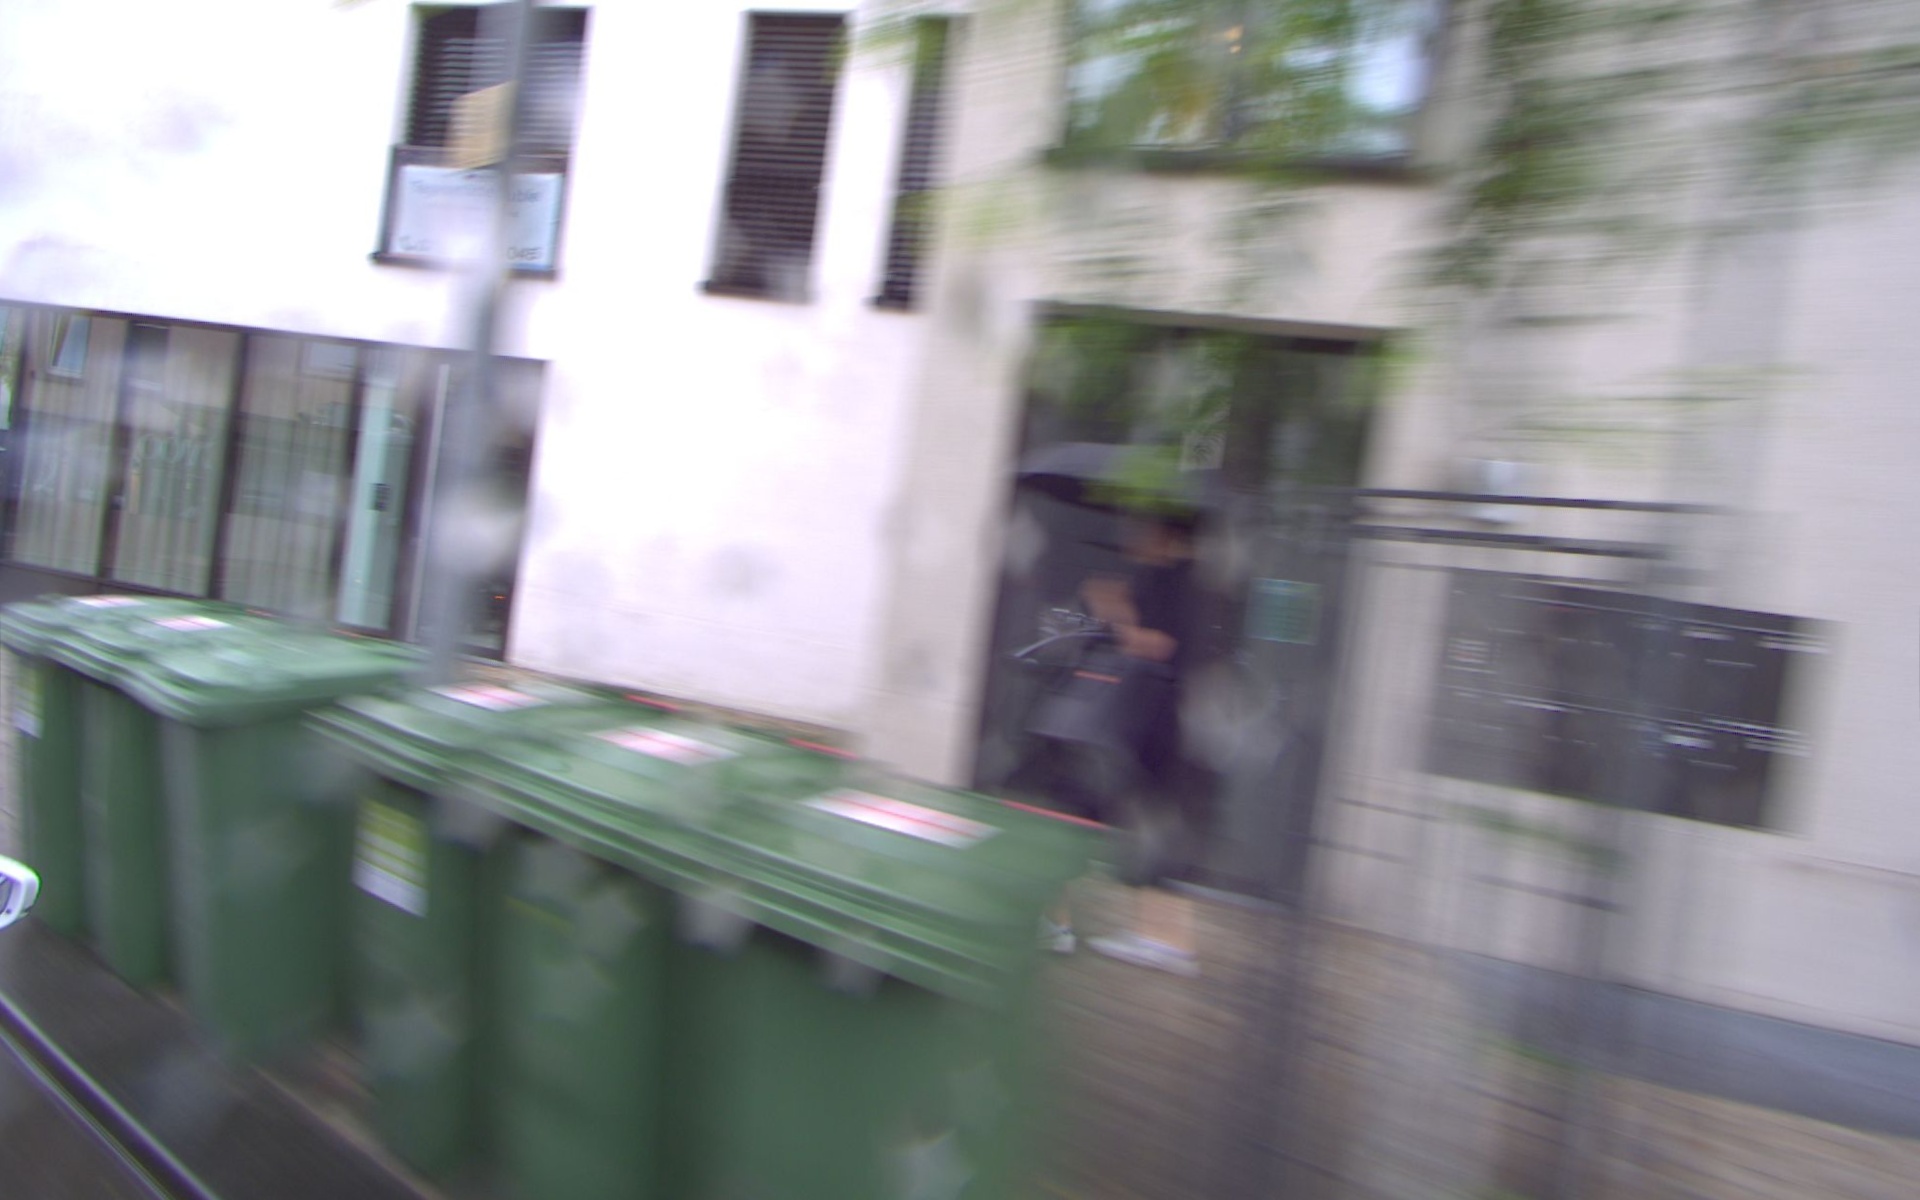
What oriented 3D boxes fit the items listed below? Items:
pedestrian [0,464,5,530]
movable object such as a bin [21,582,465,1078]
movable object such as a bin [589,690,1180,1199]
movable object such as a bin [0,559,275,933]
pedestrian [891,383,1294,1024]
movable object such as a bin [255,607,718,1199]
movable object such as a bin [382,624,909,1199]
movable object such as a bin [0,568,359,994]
[{"bbox_3d":[-15.361,-1.339,15.543,0.691,1.626,0.583,7,2,25],"label":"pedestrian"},{"bbox_3d":[-2.018,0.577,2.878,0.614,1.131,0.762,8,0,32],"label":"movable object such as a bin"},{"bbox_3d":[-0.117,0.792,1.763,0.621,1.185,0.751,7,1,35],"label":"movable object such as a bin"},{"bbox_3d":[-3.005,0.472,3.531,0.567,1.131,0.725,8,0,32],"label":"movable object such as a bin"},{"bbox_3d":[0.532,0.310,3.810,1.064,2.038,0.869,7,0,27],"label":"pedestrian"},{"bbox_3d":[-1.159,0.660,2.518,0.621,1.185,0.751,7,1,35],"label":"movable object such as a bin"},{"bbox_3d":[-0.642,0.692,2.145,0.621,1.185,0.751,7,1,35],"label":"movable object such as a bin"},{"bbox_3d":[-2.512,0.525,3.221,0.567,1.131,0.725,8,0,32],"label":"movable object such as a bin"}]
